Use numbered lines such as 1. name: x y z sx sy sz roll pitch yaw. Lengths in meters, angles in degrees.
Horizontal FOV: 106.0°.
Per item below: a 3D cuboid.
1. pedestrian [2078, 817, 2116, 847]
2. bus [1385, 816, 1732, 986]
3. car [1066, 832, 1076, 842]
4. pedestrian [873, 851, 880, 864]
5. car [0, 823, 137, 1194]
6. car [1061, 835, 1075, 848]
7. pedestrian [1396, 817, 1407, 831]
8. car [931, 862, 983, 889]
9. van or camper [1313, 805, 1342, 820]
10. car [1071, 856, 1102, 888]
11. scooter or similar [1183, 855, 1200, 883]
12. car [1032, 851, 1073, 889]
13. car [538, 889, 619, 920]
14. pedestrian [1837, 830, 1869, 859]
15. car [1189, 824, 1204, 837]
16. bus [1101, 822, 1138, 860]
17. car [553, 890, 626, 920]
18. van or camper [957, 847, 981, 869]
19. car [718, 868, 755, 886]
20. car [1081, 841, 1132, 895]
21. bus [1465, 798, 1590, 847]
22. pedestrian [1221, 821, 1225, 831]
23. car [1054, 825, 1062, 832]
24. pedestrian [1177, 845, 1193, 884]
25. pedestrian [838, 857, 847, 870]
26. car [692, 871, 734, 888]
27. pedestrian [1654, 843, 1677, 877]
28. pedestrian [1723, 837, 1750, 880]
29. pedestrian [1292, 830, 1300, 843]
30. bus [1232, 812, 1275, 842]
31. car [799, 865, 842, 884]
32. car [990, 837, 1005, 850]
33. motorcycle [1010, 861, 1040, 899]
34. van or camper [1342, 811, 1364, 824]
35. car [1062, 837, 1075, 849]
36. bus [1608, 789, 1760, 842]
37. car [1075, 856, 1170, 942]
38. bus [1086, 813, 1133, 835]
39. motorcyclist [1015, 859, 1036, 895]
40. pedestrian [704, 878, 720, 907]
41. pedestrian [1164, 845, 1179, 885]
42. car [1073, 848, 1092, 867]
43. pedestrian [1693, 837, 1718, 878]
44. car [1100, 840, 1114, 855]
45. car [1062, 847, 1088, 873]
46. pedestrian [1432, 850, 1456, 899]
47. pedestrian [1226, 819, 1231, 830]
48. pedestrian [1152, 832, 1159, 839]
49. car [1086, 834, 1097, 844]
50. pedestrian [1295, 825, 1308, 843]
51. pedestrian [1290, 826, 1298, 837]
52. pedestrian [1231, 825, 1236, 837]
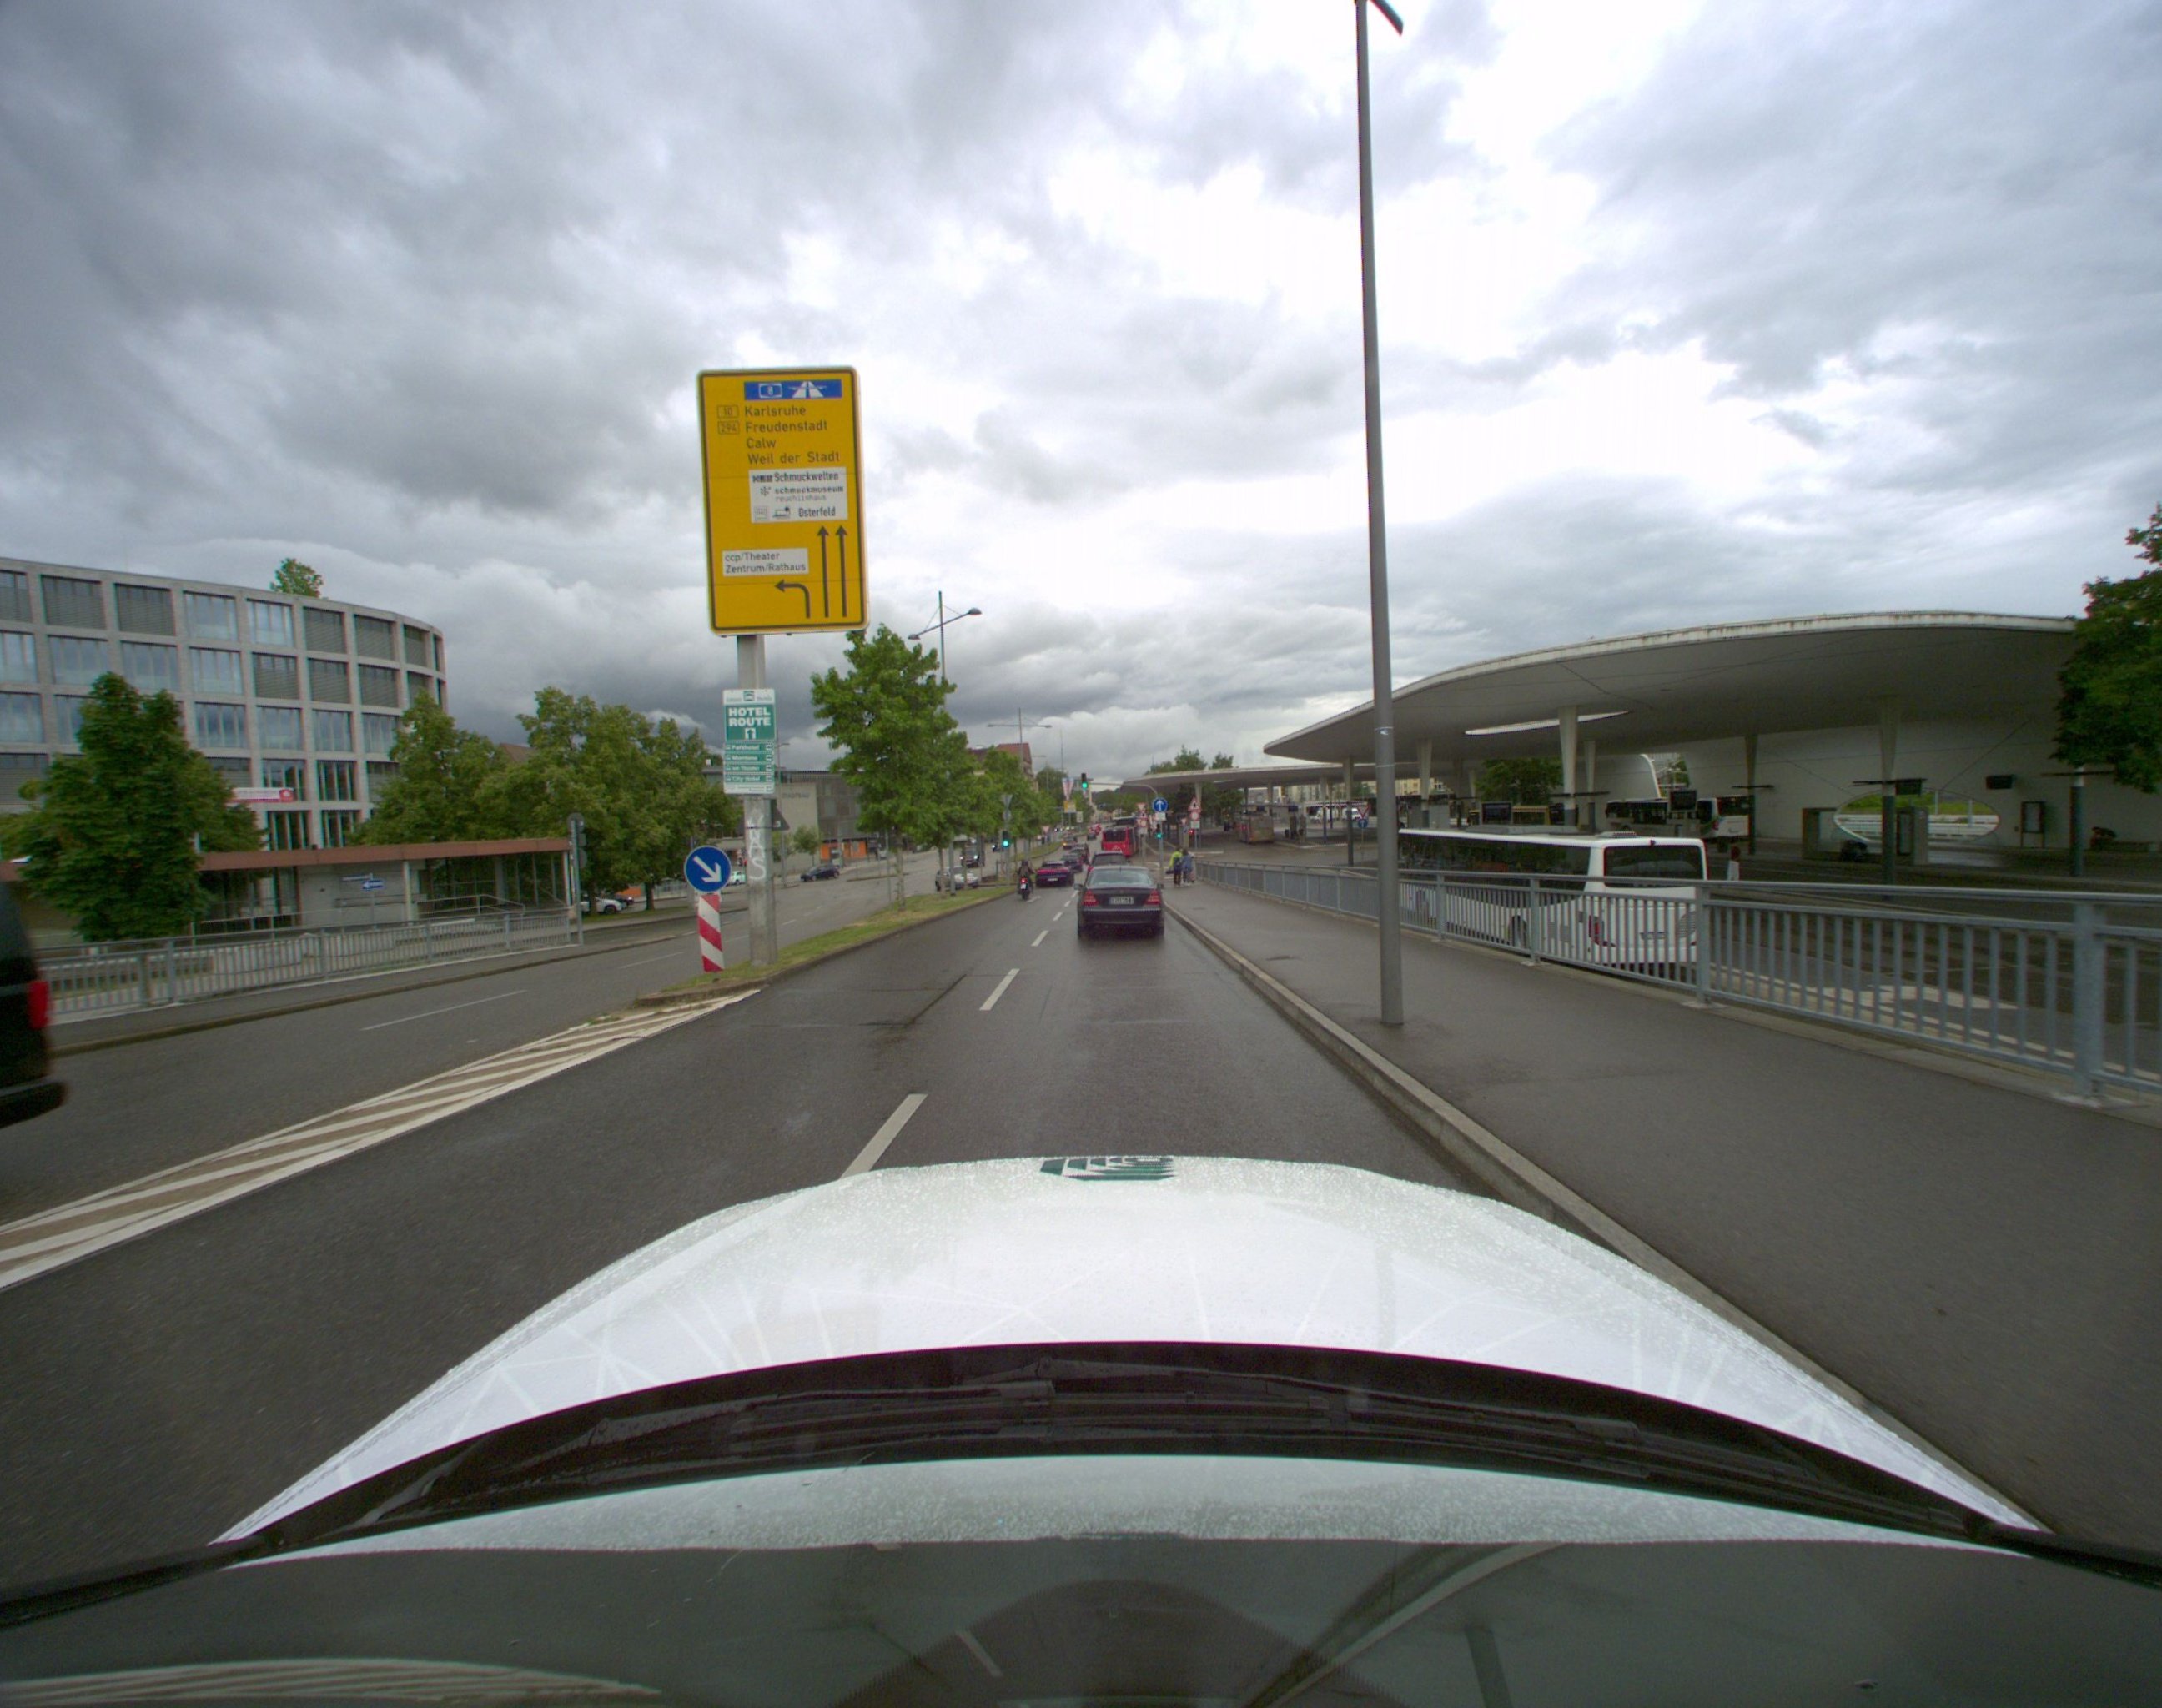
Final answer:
1. pedestrian: 46.267 -0.983 37.105 0.706 1.325 0.802 0 -1 5
2. bus: 12.309 0.700 23.274 2.834 3.360 12.434 0 4 1
3. car: -1.854 -3.078 146.825 1.635 1.804 3.641 0 -1 2
4. pedestrian: -27.786 0.527 110.688 0.471 1.683 0.765 -4 2 8
5. car: -6.622 0.841 2.583 1.841 1.968 4.680 -3 -1 -3
6. car: -1.792 -1.746 114.342 1.859 1.684 4.001 0 0 1
7. pedestrian: 37.070 -3.459 94.160 0.793 1.586 0.907 -2 1 -4
8. car: -7.596 1.282 49.692 1.643 1.448 3.837 -6 2 -32
9. van or camper: 44.398 -7.530 146.546 4.592 2.557 2.119 -1 1 0
10. car: 0.372 1.097 51.534 1.734 1.566 3.874 -6 3 2
11. scooter or similar: 5.090 0.684 37.586 0.462 1.221 1.860 -4 -1 1
12. car: -1.511 0.841 44.956 1.809 1.570 4.407 -6 3 2
13. car: -32.558 3.243 52.801 4.081 1.508 1.707 -6 3 -45
14. pedestrian: 35.310 -0.418 37.262 0.705 1.325 0.803 0 -1 9
15. car: 17.053 -3.477 120.217 1.706 1.661 4.242 -3 3 1
16. bus: 3.974 -1.489 83.996 3.273 3.291 10.888 -4 3 3
17. car: -33.576 3.440 55.698 1.706 1.567 3.862 -2 3 44
18. van or camper: -11.876 0.458 86.464 2.214 2.072 5.271 -5 -1 -7
19. car: -37.010 2.468 87.643 1.615 1.495 3.599 -3 3 17
20. car: 1.137 0.558 36.354 1.950 1.875 4.877 -6 3 2
21. bus: 33.623 -2.528 62.150 2.779 3.256 12.144 -3 3 0
22. pedestrian: 22.880 -4.572 131.100 0.573 1.578 0.565 -1 -1 31
23. car: -6.219 -6.780 218.454 1.773 1.566 3.432 -6 3 2
24. pedestrian: 4.459 0.443 35.034 0.587 1.670 0.580 -1 -2 1
25. pedestrian: -28.671 1.135 97.935 0.676 1.392 0.721 -4 2 0
26. car: -41.039 2.827 90.807 1.743 1.495 3.813 -2 3 40
27. pedestrian: 25.436 0.266 35.453 0.566 1.393 0.558 -4 2 7
28. pedestrian: 25.678 0.175 31.904 0.646 1.654 0.632 -6 3 -38
29. pedestrian: 24.471 -2.011 92.582 0.786 1.377 0.637 -3 2 19
30. bus: 20.026 -3.290 95.260 2.711 3.042 12.098 -4 3 2
31. car: -26.288 2.008 82.201 3.690 1.438 1.810 -8 4 -35
32. car: -13.057 -1.605 127.529 1.903 1.661 4.856 -3 3 -2
33. motorcycle: -2.207 1.021 32.406 0.789 1.261 1.858 -5 3 6
34. van or camper: 46.749 -6.227 140.063 1.986 2.103 5.482 -1 1 1
35. car: -2.016 -1.727 130.881 1.791 1.907 3.641 0 -1 2
36. bus: 43.570 -2.880 59.596 2.456 3.256 11.980 -5 3 2
37. car: 0.818 0.832 17.115 1.691 1.462 4.305 -2 1 2
38. bus: 5.990 -6.320 172.580 2.861 3.986 11.730 -6 3 -37
39. motorcyclist: -2.211 0.915 32.454 0.638 1.347 0.690 -4 3 5
40. pedestrian: -21.261 2.210 46.970 0.653 1.570 0.627 -5 0 -17
41. pedestrian: 3.894 0.467 35.051 0.520 1.670 0.580 -2 -1 1
42. car: 0.157 0.344 79.833 1.569 1.504 3.875 -6 3 3
43. pedestrian: 25.866 0.136 33.730 0.566 1.654 0.558 -4 2 7
44. car: 3.358 -0.846 105.313 1.569 1.566 3.874 -6 3 2
45. car: -0.423 0.414 63.078 1.670 1.623 3.874 -6 3 2
46. pedestrian: 14.413 0.794 32.336 0.589 1.886 0.642 -4 4 -34
47. pedestrian: 23.688 -4.693 131.143 0.573 1.716 0.565 -1 -1 37
48. pedestrian: 12.014 -2.959 131.096 0.906 0.985 0.636 -2 -1 15
49. car: 1.926 -2.690 142.993 1.859 1.684 4.001 0 0 1
50. pedestrian: 22.285 -2.013 82.298 0.721 1.683 1.013 -6 2 -24
51. pedestrian: 24.709 -2.653 94.621 0.786 1.226 0.637 -3 2 19
52. pedestrian: 22.755 -3.426 121.254 0.559 1.691 0.613 -3 3 -5
